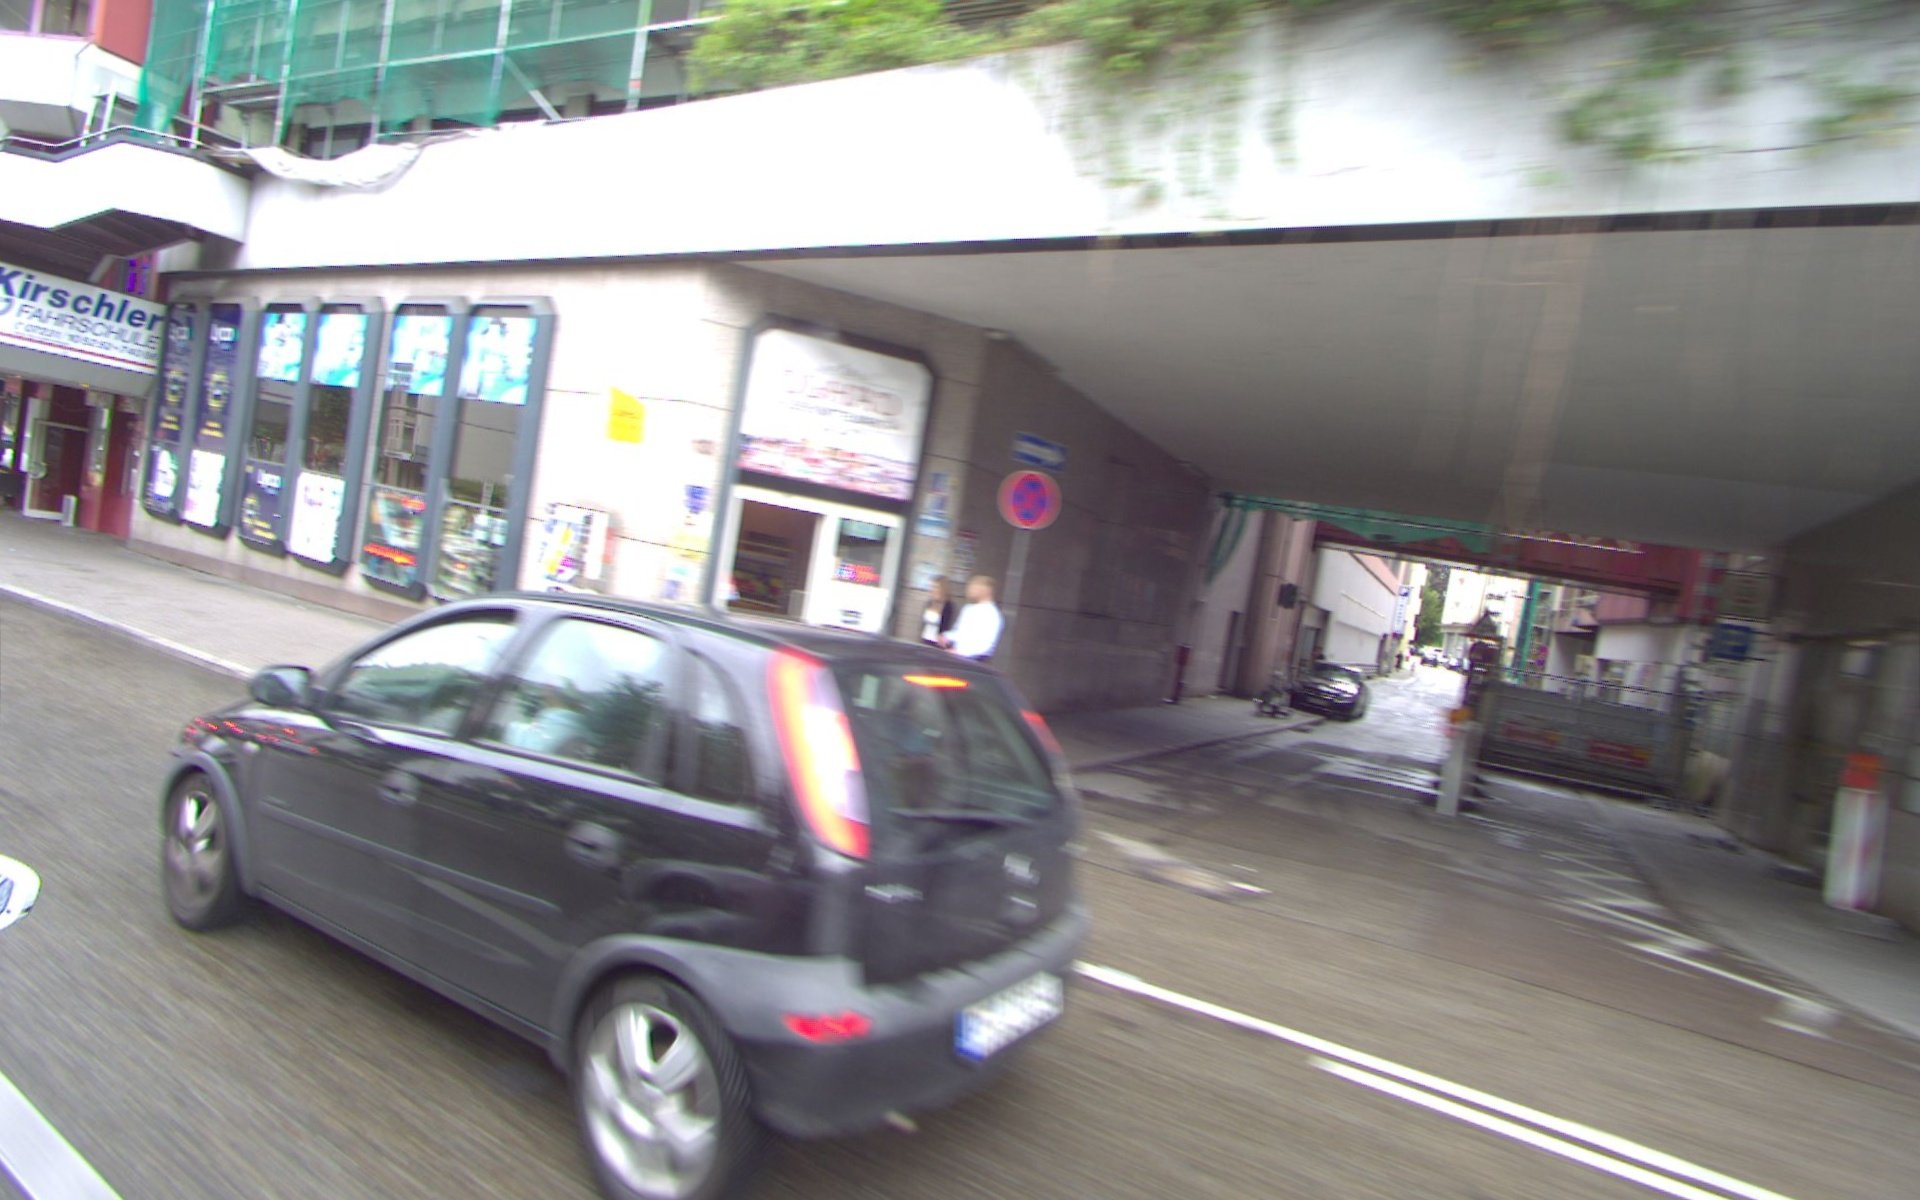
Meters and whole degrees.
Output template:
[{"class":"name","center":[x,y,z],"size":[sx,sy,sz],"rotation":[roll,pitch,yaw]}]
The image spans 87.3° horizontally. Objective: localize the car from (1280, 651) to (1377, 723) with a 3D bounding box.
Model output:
[{"class":"car","center":[10.579,2.427,28.701],"size":[2.072,1.415,3.997],"rotation":[15,3,24]}]

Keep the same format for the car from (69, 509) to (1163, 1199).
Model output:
[{"class":"car","center":[-1.396,0.636,3.694],"size":[3.707,1.437,1.719],"rotation":[8,0,31]}]

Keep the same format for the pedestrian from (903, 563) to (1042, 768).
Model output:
[{"class":"pedestrian","center":[0.122,0.631,9.858],"size":[0.824,1.802,0.616],"rotation":[14,5,29]}]

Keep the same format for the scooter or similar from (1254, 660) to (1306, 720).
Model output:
[{"class":"scooter or similar","center":[7.447,2.098,23.384],"size":[0.419,1.276,1.630],"rotation":[15,4,36]}]

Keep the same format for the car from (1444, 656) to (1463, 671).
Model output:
[{"class":"car","center":[55.640,7.158,113.419],"size":[1.603,1.338,3.571],"rotation":[8,1,23]}]

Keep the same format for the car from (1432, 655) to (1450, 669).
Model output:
[{"class":"car","center":[59.343,7.606,124.123],"size":[1.557,1.413,3.518],"rotation":[8,1,22]}]

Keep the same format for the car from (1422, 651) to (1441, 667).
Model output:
[{"class":"car","center":[54.016,6.788,115.264],"size":[1.602,1.538,3.230],"rotation":[8,1,23]}]

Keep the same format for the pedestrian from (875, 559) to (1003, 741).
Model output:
[{"class":"pedestrian","center":[-0.238,0.535,10.855],"size":[0.714,1.743,0.761],"rotation":[11,4,-34]}]

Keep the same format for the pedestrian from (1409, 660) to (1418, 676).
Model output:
[{"class":"pedestrian","center":[35.720,5.330,79.224],"size":[0.463,1.171,0.483],"rotation":[8,2,23]}]

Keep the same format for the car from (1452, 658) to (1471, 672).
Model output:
[{"class":"car","center":[51.596,6.676,103.461],"size":[1.428,1.126,3.128],"rotation":[8,1,23]}]
